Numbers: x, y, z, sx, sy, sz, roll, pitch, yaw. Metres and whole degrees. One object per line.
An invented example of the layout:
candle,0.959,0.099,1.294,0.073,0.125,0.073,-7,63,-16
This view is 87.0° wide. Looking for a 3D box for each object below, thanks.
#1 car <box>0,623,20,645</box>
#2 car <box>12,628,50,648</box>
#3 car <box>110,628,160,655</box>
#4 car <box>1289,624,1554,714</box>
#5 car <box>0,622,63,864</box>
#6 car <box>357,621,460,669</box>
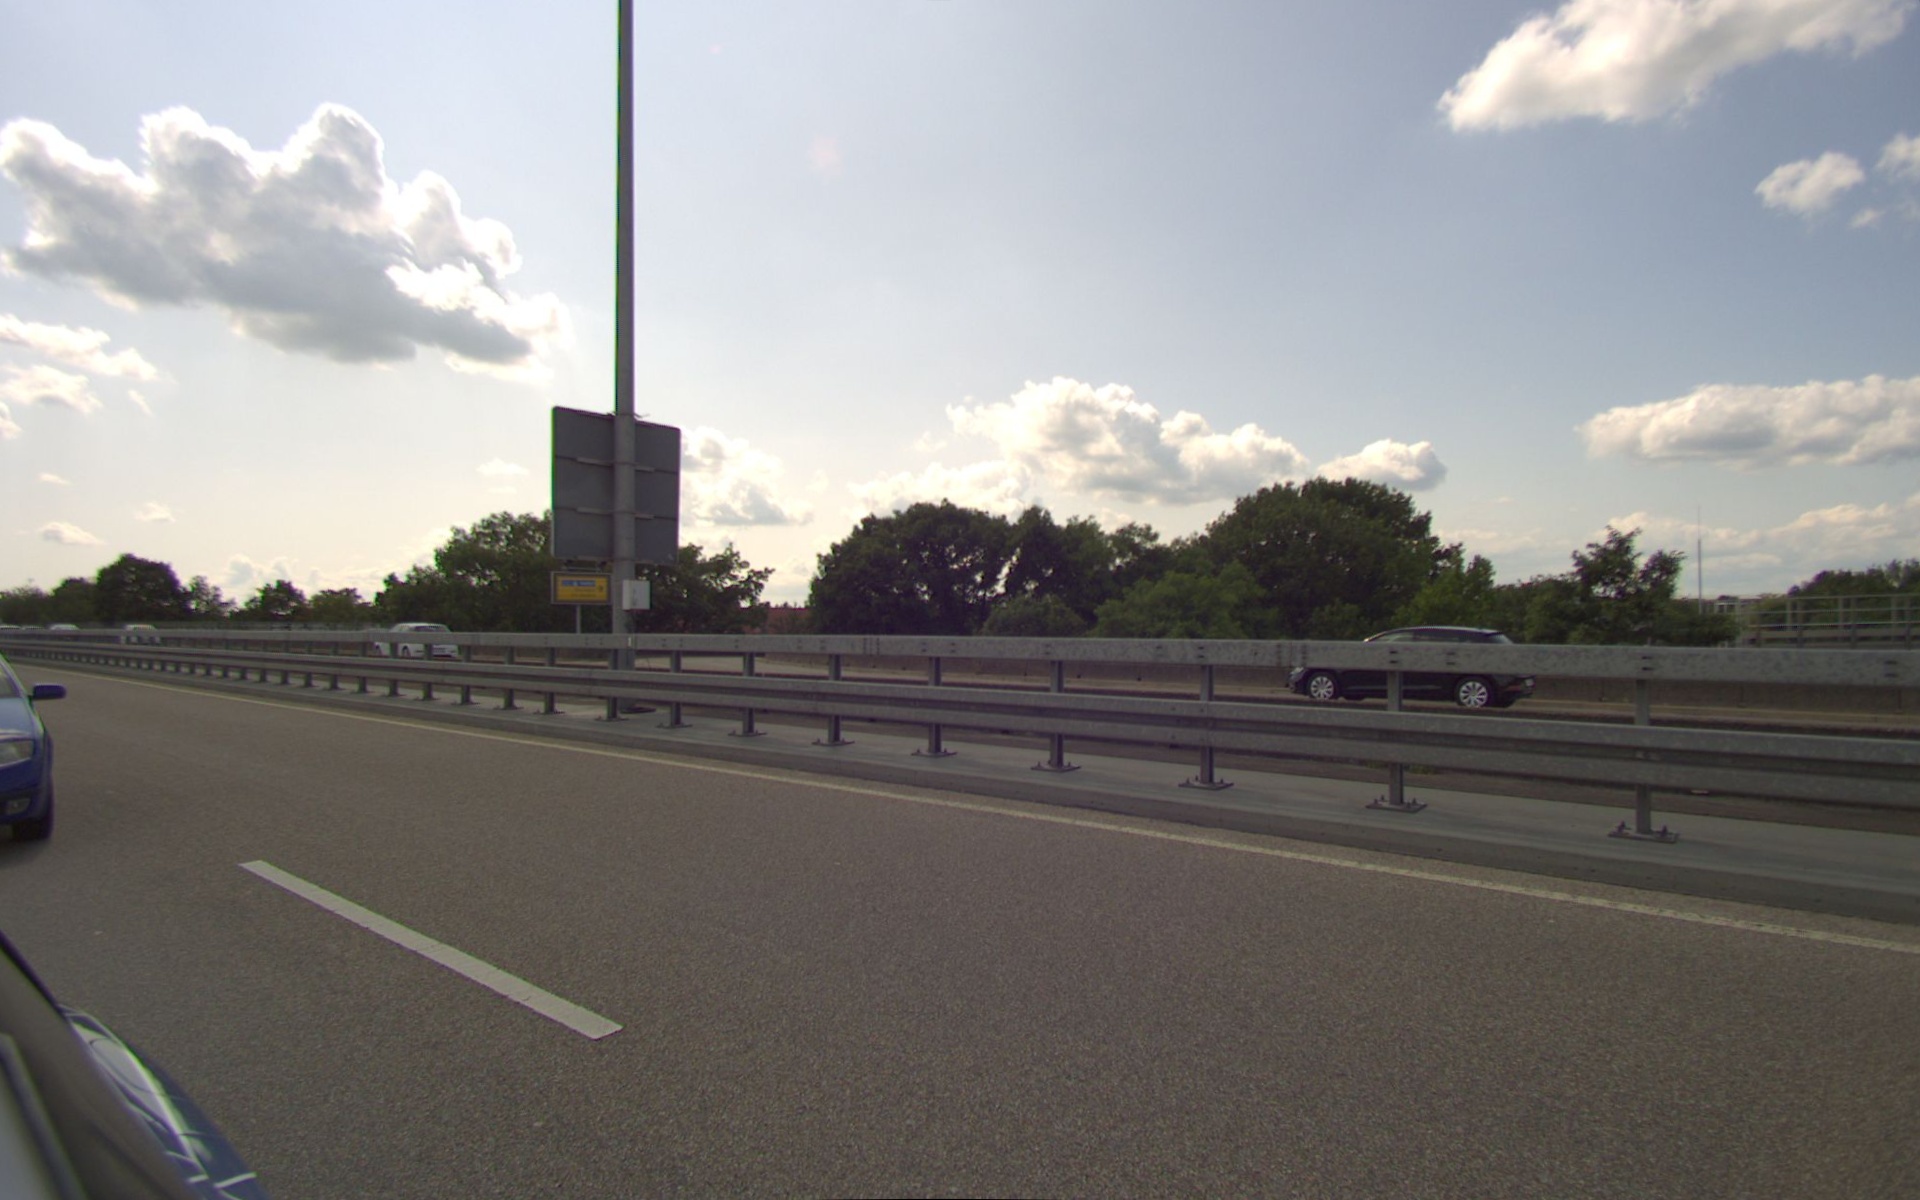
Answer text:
car,-68.545,2.432,71.906,4.237,1.540,1.884,-1,0,38
car,-79.316,3.213,86.369,3.996,1.651,1.804,-1,0,39
car,-52.893,2.632,64.866,3.951,1.593,1.810,-1,0,41
car,8.106,1.142,17.975,3.996,1.412,1.661,-1,-1,40
car,-7.468,0.898,6.844,3.769,1.422,1.605,-1,0,41
car,-20.481,1.629,37.488,4.708,1.608,1.779,-1,0,40
